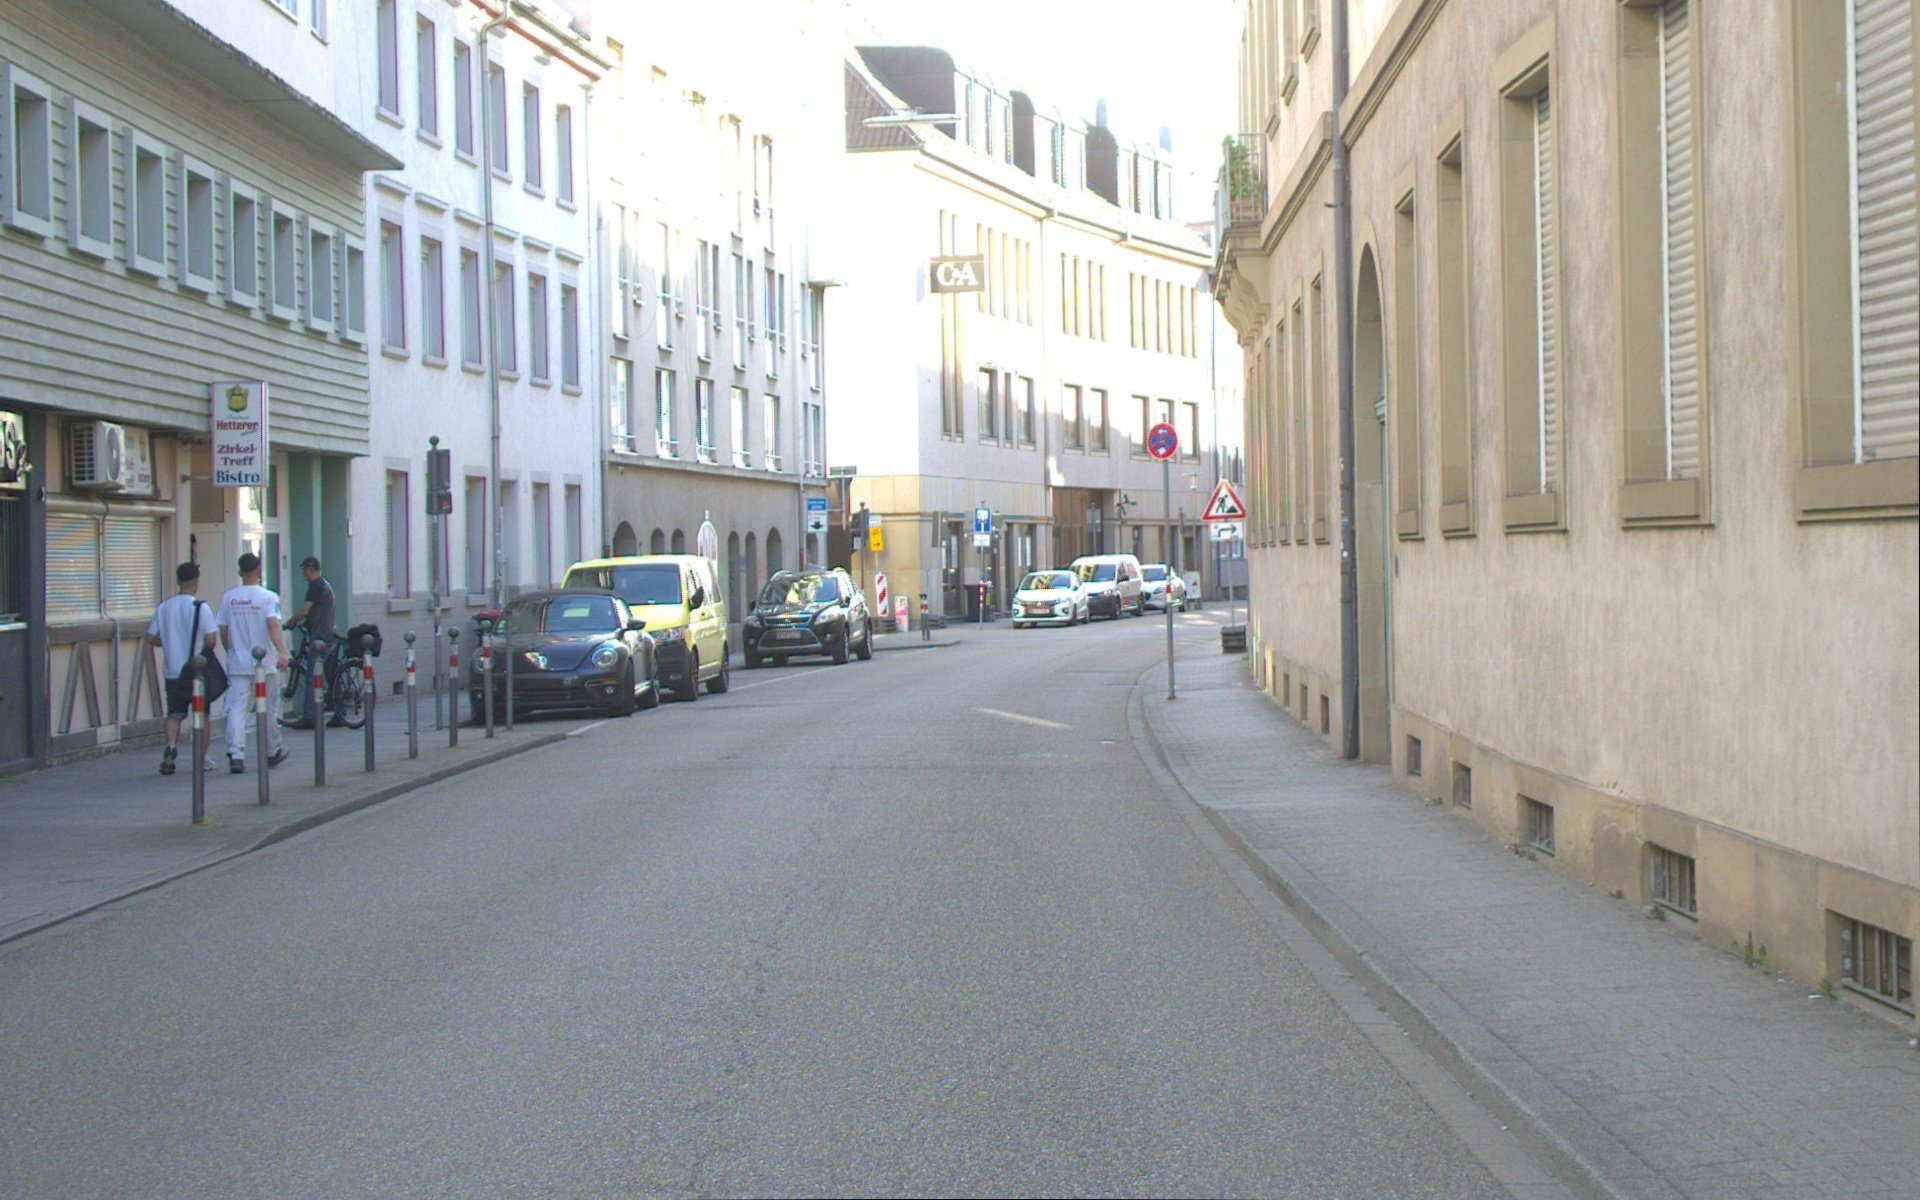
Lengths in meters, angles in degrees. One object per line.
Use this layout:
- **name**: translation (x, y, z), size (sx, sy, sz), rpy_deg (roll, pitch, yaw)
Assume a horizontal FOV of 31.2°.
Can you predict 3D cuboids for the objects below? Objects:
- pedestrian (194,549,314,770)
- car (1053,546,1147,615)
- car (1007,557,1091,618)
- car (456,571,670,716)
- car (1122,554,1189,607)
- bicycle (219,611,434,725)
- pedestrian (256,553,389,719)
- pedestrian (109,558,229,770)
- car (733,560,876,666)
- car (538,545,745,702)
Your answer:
- **pedestrian**: translation (-5.686, 0.472, 27.728), size (0.698, 1.728, 0.829), rpy_deg (-2, 0, 2)
- **car**: translation (4.002, -0.565, 97.833), size (1.671, 1.812, 4.549), rpy_deg (-3, 1, 15)
- **car**: translation (2.415, -0.359, 92.156), size (1.671, 1.501, 3.792), rpy_deg (-3, 1, 10)
- **car**: translation (-4.557, 0.461, 40.050), size (1.819, 1.481, 4.076), rpy_deg (-4, 1, 2)
- **car**: translation (5.912, -0.605, 103.784), size (1.272, 1.501, 3.399), rpy_deg (-3, 1, 16)
- **bicycle**: translation (-6.722, 0.720, 36.461), size (2.131, 1.159, 0.822), rpy_deg (-1, 1, 25)
- **pedestrian**: translation (-6.759, 0.380, 36.472), size (1.079, 1.722, 0.801), rpy_deg (-1, 1, 25)
- **pedestrian**: translation (-6.366, 0.503, 27.693), size (0.672, 1.664, 0.894), rpy_deg (-2, 0, 2)
- **car**: translation (-2.762, 0.200, 61.871), size (1.740, 1.705, 4.189), rpy_deg (-4, 1, 8)
- **car**: translation (-4.162, 0.261, 45.691), size (1.880, 1.860, 4.863), rpy_deg (-4, 1, 4)
